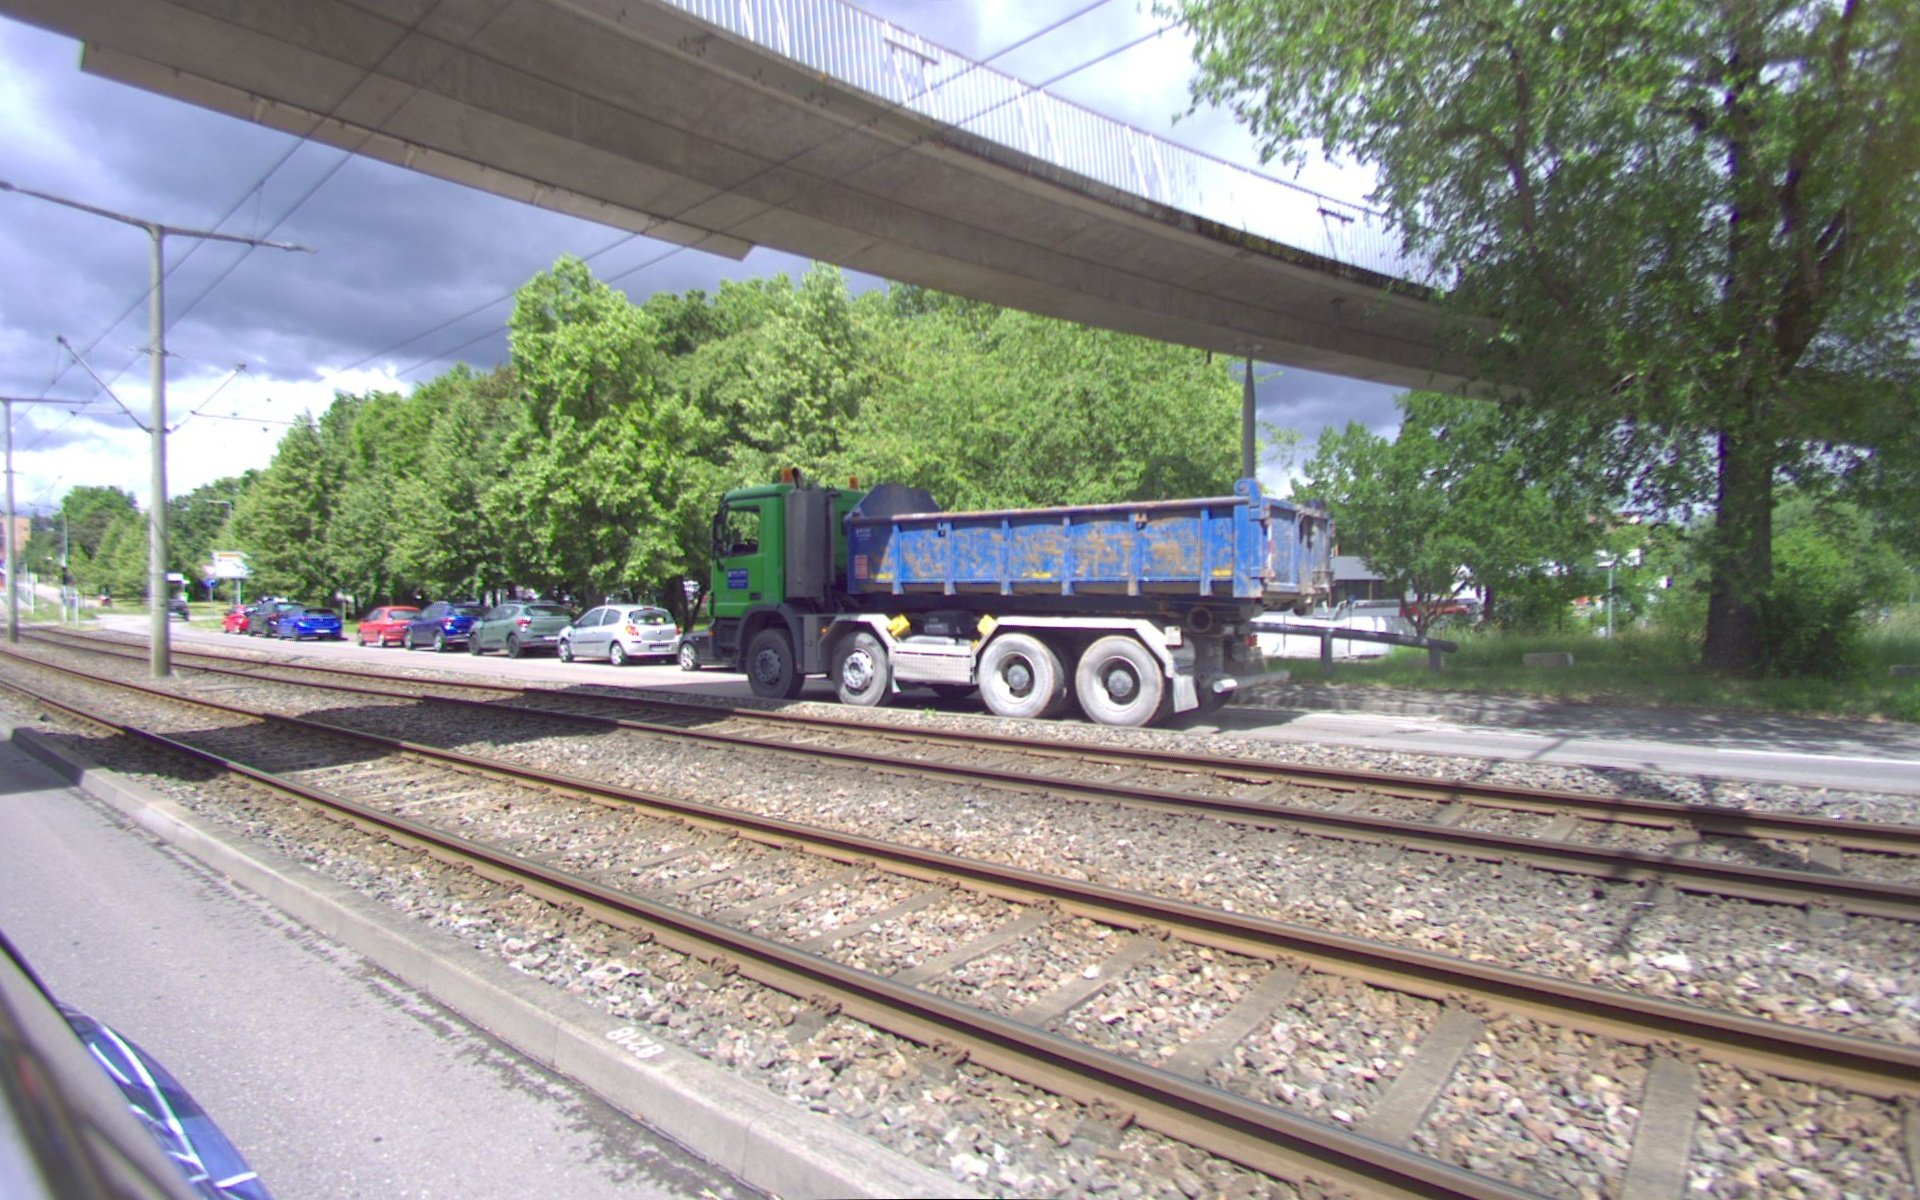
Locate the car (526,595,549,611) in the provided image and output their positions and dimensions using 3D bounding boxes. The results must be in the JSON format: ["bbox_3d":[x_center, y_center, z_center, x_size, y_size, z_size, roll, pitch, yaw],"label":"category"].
[{"bbox_3d":[-44.557,0.292,106.731,1.728,1.430,4.012,-1,2,-16],"label":"car"}]

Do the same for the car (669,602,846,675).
[{"bbox_3d":[-4.279,0.751,21.019,4.128,1.370,1.494,-1,-1,43],"label":"car"}]

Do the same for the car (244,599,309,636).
[{"bbox_3d":[-31.489,0.781,46.590,4.375,1.617,1.563,-1,-1,43],"label":"car"}]

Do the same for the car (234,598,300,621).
[{"bbox_3d":[-58.611,0.786,85.712,1.733,1.702,4.315,0,3,25],"label":"car"}]

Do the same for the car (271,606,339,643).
[{"bbox_3d":[-27.806,1.005,42.914,4.009,1.472,1.595,0,-1,45],"label":"car"}]

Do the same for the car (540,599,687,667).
[{"bbox_3d":[-8.731,0.777,25.359,4.190,1.505,1.577,-1,2,41],"label":"car"}]

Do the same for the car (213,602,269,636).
[{"bbox_3d":[-35.923,0.911,50.541,3.663,1.462,1.595,2,3,44],"label":"car"}]

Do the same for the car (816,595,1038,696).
[{"bbox_3d":[-0.662,0.715,17.990,3.899,1.461,1.671,2,3,43],"label":"car"}]

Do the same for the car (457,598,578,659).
[{"bbox_3d":[-12.709,0.791,28.973,4.126,1.635,1.624,0,-3,43],"label":"car"}]

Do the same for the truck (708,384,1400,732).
[{"bbox_3d":[0.770,-0.486,13.537,9.012,3.344,2.846,0,3,36],"label":"truck"}]

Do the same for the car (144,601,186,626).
[{"bbox_3d":[-55.075,0.898,70.110,4.000,1.585,1.596,1,3,42],"label":"car"}]

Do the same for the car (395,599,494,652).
[{"bbox_3d":[-16.678,0.794,32.671,4.160,1.608,1.540,-1,-1,43],"label":"car"}]

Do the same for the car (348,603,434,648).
[{"bbox_3d":[-20.447,0.907,36.276,4.049,1.505,1.595,-1,0,44],"label":"car"}]
